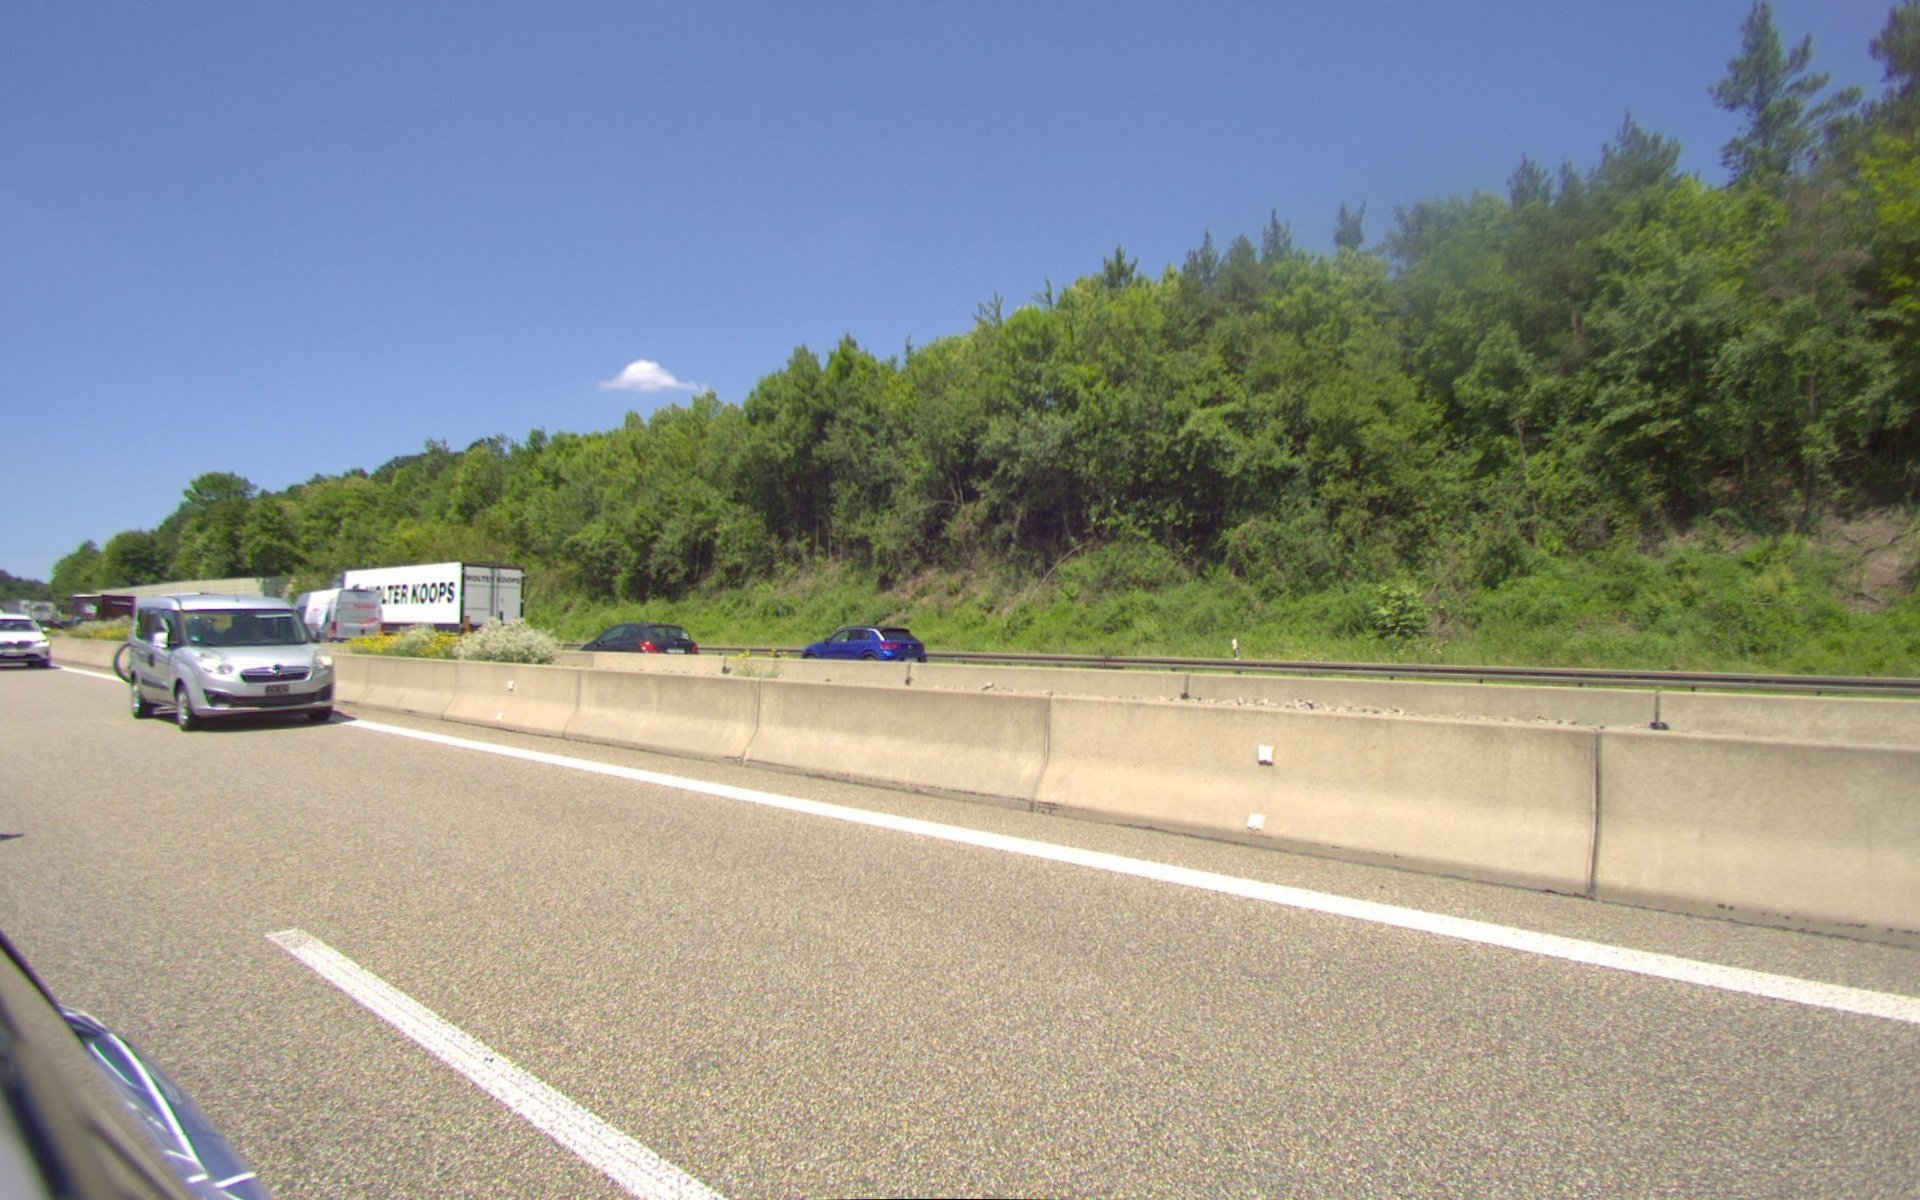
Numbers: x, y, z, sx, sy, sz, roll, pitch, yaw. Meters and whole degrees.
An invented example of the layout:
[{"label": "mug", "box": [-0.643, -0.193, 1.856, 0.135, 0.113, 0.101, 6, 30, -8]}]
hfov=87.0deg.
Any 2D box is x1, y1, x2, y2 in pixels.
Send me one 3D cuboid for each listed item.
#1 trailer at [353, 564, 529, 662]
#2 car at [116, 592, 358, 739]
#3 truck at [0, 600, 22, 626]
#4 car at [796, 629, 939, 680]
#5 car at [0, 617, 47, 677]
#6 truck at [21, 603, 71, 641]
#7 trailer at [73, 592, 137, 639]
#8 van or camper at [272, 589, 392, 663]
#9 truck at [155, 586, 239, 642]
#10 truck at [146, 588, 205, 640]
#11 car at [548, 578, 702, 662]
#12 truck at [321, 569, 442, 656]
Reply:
[{"label": "trailer", "box": [-23.271, 0.535, 44.937, 11.395, 3.901, 2.966, 0, 0, 41]}, {"label": "car", "box": [-10.569, 0.803, 14.633, 4.917, 1.786, 1.833, 0, 0, 42]}, {"label": "truck", "box": [-180.986, 2.594, 191.846, 14.093, 4.580, 3.235, -2, -1, 41]}, {"label": "car", "box": [-2.712, 1.515, 29.154, 4.001, 1.344, 1.971, -2, -2, 44]}, {"label": "car", "box": [-29.646, 1.403, 31.188, 3.998, 1.719, 1.800, 0, 0, 41]}, {"label": "truck", "box": [-118.690, 2.894, 131.376, 14.093, 4.580, 3.235, -2, -1, 41]}, {"label": "trailer", "box": [-79.936, 1.420, 94.533, 7.893, 4.226, 3.399, 0, 0, 41]}, {"label": "van or camper", "box": [-26.614, 1.033, 42.783, 6.707, 2.898, 2.370, 0, 0, 40]}, {"label": "truck", "box": [-66.788, 1.186, 88.388, 14.094, 4.579, 3.059, 0, 0, 41]}, {"label": "truck", "box": [-72.491, 1.231, 93.436, 7.091, 4.579, 3.059, -1, 0, 41]}, {"label": "car", "box": [-8.729, 0.481, 26.289, 3.996, 2.029, 1.974, 0, 0, 39]}, {"label": "truck", "box": [-28.271, 0.560, 49.304, 7.212, 3.949, 2.909, 0, 0, 41]}]
